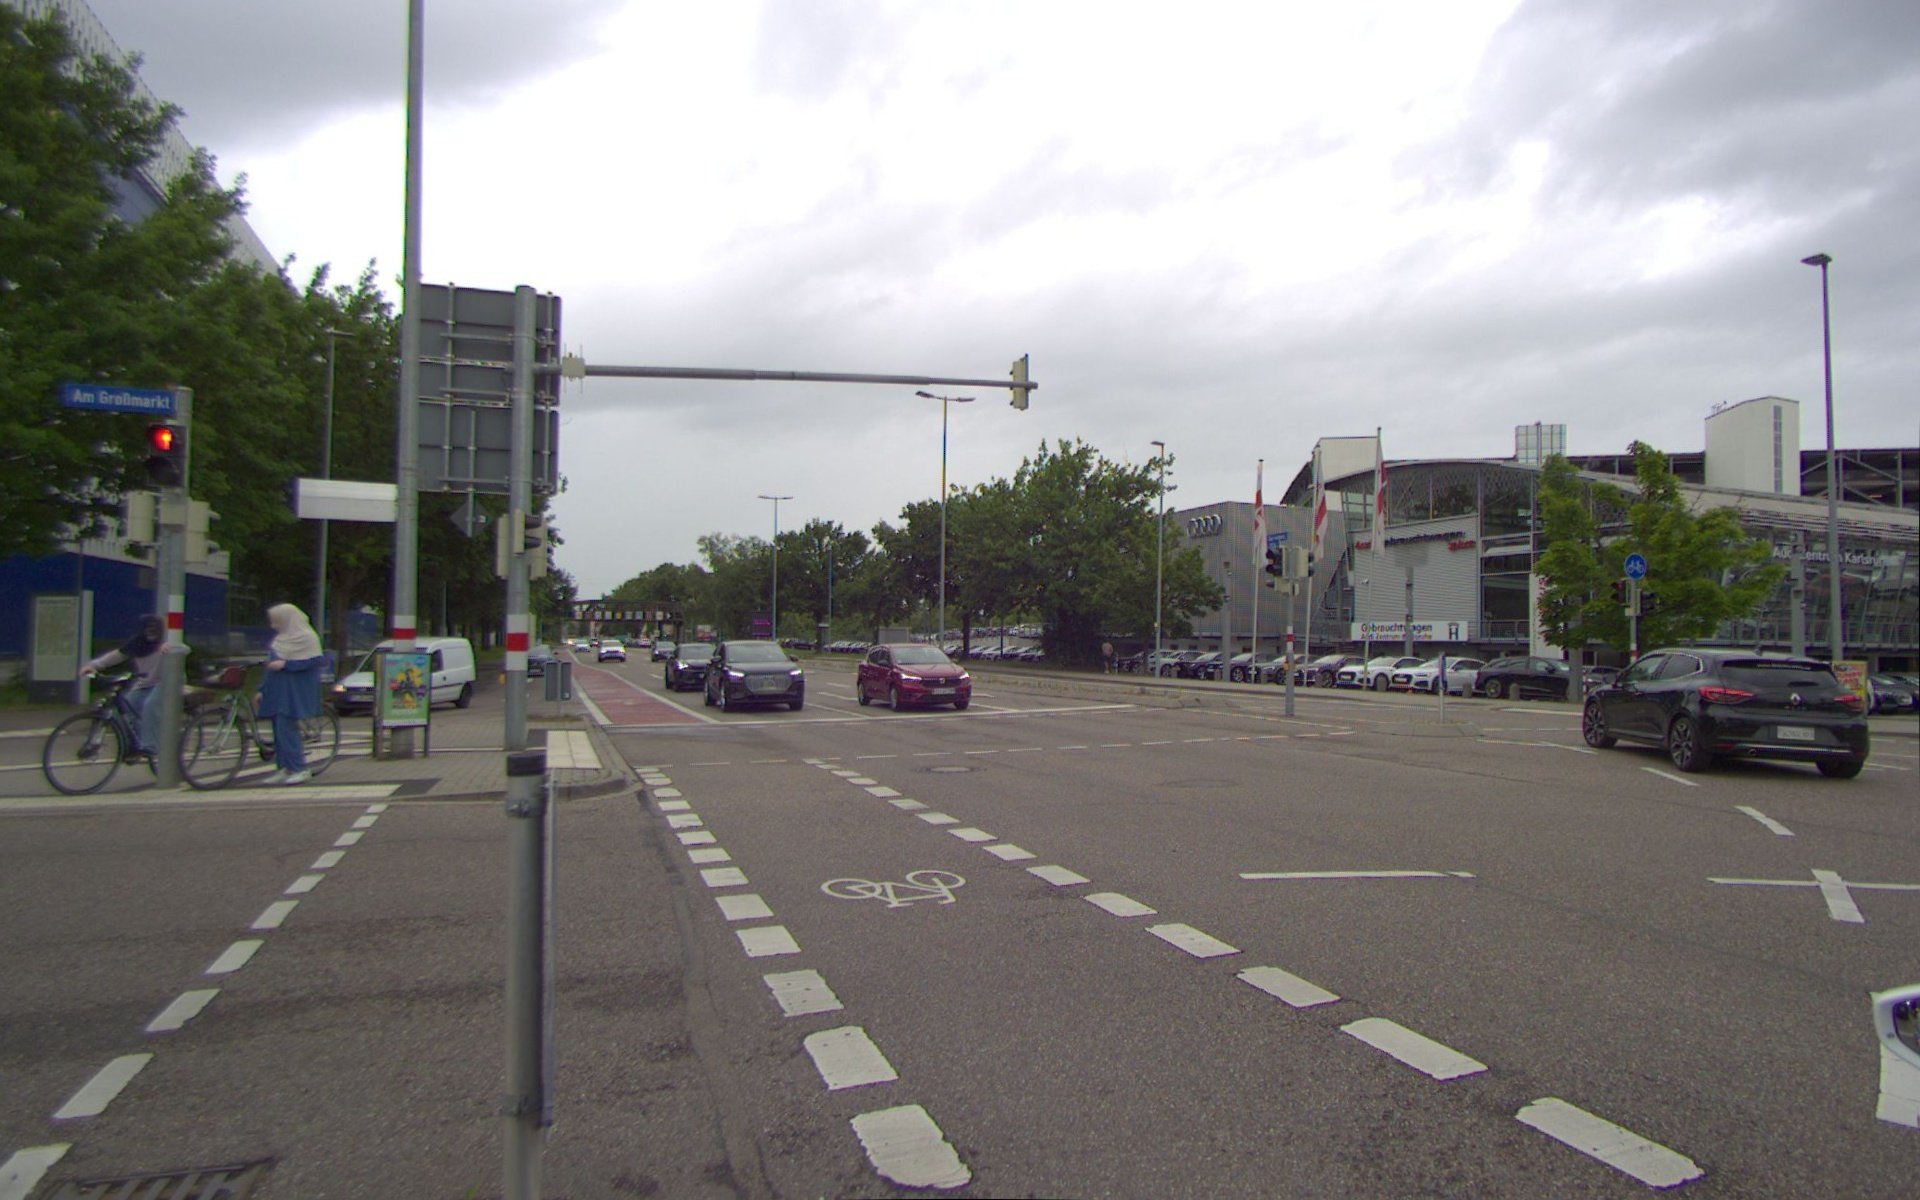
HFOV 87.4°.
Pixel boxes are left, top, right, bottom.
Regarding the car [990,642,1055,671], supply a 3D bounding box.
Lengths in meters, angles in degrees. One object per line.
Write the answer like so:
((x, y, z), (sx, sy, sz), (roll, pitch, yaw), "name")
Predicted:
((4.335, 3.902, 69.446), (4.022, 1.504, 1.809), (8, -3, -23), "car")

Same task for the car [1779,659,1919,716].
((35.163, 3.350, 39.083), (1.970, 1.965, 4.795), (2, -3, -21), "car")

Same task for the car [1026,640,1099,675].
((6.585, 3.709, 64.439), (4.194, 1.622, 1.865), (9, -3, -23), "car")

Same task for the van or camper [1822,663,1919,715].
((37.106, 3.547, 39.887), (1.821, 1.839, 3.979), (3, -1, -22), "van or camper")

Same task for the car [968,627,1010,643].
((3.309, 3.981, 114.363), (4.289, 1.516, 1.871), (3, -1, -24), "car")

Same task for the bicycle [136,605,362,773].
((-6.568, 0.803, 9.437), (0.585, 1.414, 1.935), (0, -3, 5), "bicycle")

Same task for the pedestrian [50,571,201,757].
((-7.445, 0.569, 8.992), (0.641, 1.569, 0.650), (3, -3, 4), "pedestrian")

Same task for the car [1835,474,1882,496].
((94.445, -12.064, 105.632), (1.959, 1.689, 4.003), (1, -2, 13), "car")

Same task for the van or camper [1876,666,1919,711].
((40.343, 3.720, 41.001), (1.821, 1.734, 3.979), (3, -1, -22), "van or camper")

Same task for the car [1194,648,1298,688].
((13.153, 3.113, 46.171), (4.319, 1.489, 1.884), (6, -4, -23), "car")

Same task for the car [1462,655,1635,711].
((18.995, 2.652, 32.681), (1.866, 1.505, 4.732), (5, -4, -21), "car")

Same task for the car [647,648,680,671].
((-21.269, 4.232, 71.967), (1.836, 1.481, 4.309), (0, -1, -22), "car")

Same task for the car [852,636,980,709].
((-1.111, 1.635, 23.262), (1.715, 1.507, 4.059), (0, -3, -22), "car")

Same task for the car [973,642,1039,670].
((3.283, 4.007, 71.813), (4.153, 1.504, 1.948), (8, -3, -23), "car")

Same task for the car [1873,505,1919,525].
((97.228, -8.798, 104.226), (1.959, 1.689, 4.003), (1, -2, 13), "car")

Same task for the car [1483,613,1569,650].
((29.111, 1.604, 51.651), (3.945, 1.684, 1.815), (3, -1, -24), "car")

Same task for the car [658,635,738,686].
((-8.760, 1.989, 33.358), (1.860, 1.564, 4.573), (1, -3, -24), "car")

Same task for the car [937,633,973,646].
((-0.668, 4.863, 123.727), (4.042, 1.454, 1.720), (3, -1, -24), "car")

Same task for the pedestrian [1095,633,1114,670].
((7.589, 2.694, 52.792), (0.709, 1.895, 0.670), (4, -3, -22), "pedestrian")

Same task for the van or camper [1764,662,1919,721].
((32.864, 3.393, 37.565), (1.821, 1.839, 3.979), (3, -1, -22), "van or camper")

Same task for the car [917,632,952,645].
((-3.294, 5.064, 131.090), (4.154, 1.454, 1.720), (3, -1, -24), "car")

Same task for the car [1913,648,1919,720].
((26.797, 2.106, 24.500), (1.972, 1.886, 4.763), (3, -5, -23), "car")

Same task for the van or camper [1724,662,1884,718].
((30.595, 3.234, 36.536), (1.971, 1.699, 3.979), (3, -1, -22), "van or camper")

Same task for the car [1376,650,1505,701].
((17.244, 2.705, 36.080), (4.138, 1.505, 1.844), (6, -4, -22), "car")

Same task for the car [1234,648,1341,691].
((14.187, 3.009, 43.501), (4.132, 1.505, 1.898), (6, -4, -23), "car")

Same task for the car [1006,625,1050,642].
((7.227, 3.577, 107.036), (4.289, 1.516, 1.871), (3, -1, -24), "car")

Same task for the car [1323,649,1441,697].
((16.136, 2.798, 38.404), (3.987, 1.505, 1.867), (6, -4, -22), "car")

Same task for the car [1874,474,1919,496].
((97.425, -11.943, 104.324), (1.959, 1.689, 4.003), (1, -2, 13), "car")

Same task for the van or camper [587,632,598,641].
((-70.148, 6.947, 191.737), (1.735, 1.770, 4.384), (-1, -1, -22), "van or camper")

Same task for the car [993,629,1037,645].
((6.019, 3.987, 109.498), (4.289, 1.516, 2.057), (3, -1, -24), "car")

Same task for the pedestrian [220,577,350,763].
((-6.254, 0.646, 9.333), (0.628, 1.647, 0.693), (0, -4, 12), "pedestrian")

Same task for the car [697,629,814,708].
((-4.983, 1.581, 24.036), (1.860, 1.658, 4.309), (-1, -2, -24), "car")

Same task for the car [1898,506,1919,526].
((99.467, -8.695, 103.793), (1.959, 1.689, 4.003), (1, -2, 13), "car")

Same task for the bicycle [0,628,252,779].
((-7.452, 0.897, 9.093), (0.498, 1.180, 1.949), (3, -3, 4), "bicycle")

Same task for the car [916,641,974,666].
((-1.249, 4.458, 83.948), (4.347, 1.539, 1.990), (9, -3, -21), "car")

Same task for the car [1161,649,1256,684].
((12.049, 3.215, 48.687), (4.110, 1.408, 1.893), (6, -4, -23), "car")

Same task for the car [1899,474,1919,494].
((99.780, -12.047, 104.030), (1.959, 1.689, 4.003), (1, -2, 13), "car")

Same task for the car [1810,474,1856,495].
((92.080, -12.175, 105.998), (1.959, 1.689, 4.003), (1, -2, 13), "car")

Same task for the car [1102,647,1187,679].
((9.868, 3.363, 53.732), (4.159, 1.439, 1.846), (5, -3, -23), "car")

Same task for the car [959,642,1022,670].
((2.266, 4.120, 74.145), (4.137, 1.504, 1.967), (8, -3, -22), "car")

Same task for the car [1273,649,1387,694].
((15.096, 2.895, 40.953), (4.172, 1.505, 1.862), (6, -4, -22), "car")

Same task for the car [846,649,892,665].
((-9.443, 5.918, 104.513), (4.396, 1.592, 1.989), (2, -2, -23), "car")

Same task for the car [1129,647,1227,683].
((11.110, 3.307, 51.199), (4.599, 1.491, 1.838), (5, -3, -23), "car")

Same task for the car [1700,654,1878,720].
((21.789, 2.282, 26.406), (4.169, 1.505, 1.866), (5, -4, -22), "car")

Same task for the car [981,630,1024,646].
((4.732, 4.278, 112.167), (4.289, 1.516, 1.959), (3, -1, -24), "car")

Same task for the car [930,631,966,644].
((-1.498, 4.682, 126.264), (4.042, 1.454, 1.720), (3, -1, -24), "car")

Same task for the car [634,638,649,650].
((-51.468, 7.055, 162.299), (2.110, 1.684, 3.765), (3, -1, -20), "car")

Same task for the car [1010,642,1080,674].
((5.671, 3.875, 66.945), (4.165, 1.504, 1.816), (9, -3, -23), "car")

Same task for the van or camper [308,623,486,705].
((-12.993, 1.528, 23.543), (1.962, 1.744, 4.393), (1, -4, -6), "van or camper")

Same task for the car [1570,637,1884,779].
((9.422, 1.222, 12.774), (1.727, 1.453, 4.003), (1, -2, 14), "car")

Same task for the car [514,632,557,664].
((-20.451, 2.315, 48.460), (1.676, 1.506, 4.101), (1, -3, -20), "car")

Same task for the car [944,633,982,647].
((0.371, 4.773, 121.266), (4.042, 1.454, 1.936), (3, -1, -24), "car")

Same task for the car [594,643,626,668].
((-26.026, 4.068, 74.594), (1.971, 1.615, 4.553), (-1, -1, -22), "car")

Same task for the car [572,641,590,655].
((-45.433, 5.723, 120.420), (1.834, 1.481, 4.315), (0, -1, -18), "car")
